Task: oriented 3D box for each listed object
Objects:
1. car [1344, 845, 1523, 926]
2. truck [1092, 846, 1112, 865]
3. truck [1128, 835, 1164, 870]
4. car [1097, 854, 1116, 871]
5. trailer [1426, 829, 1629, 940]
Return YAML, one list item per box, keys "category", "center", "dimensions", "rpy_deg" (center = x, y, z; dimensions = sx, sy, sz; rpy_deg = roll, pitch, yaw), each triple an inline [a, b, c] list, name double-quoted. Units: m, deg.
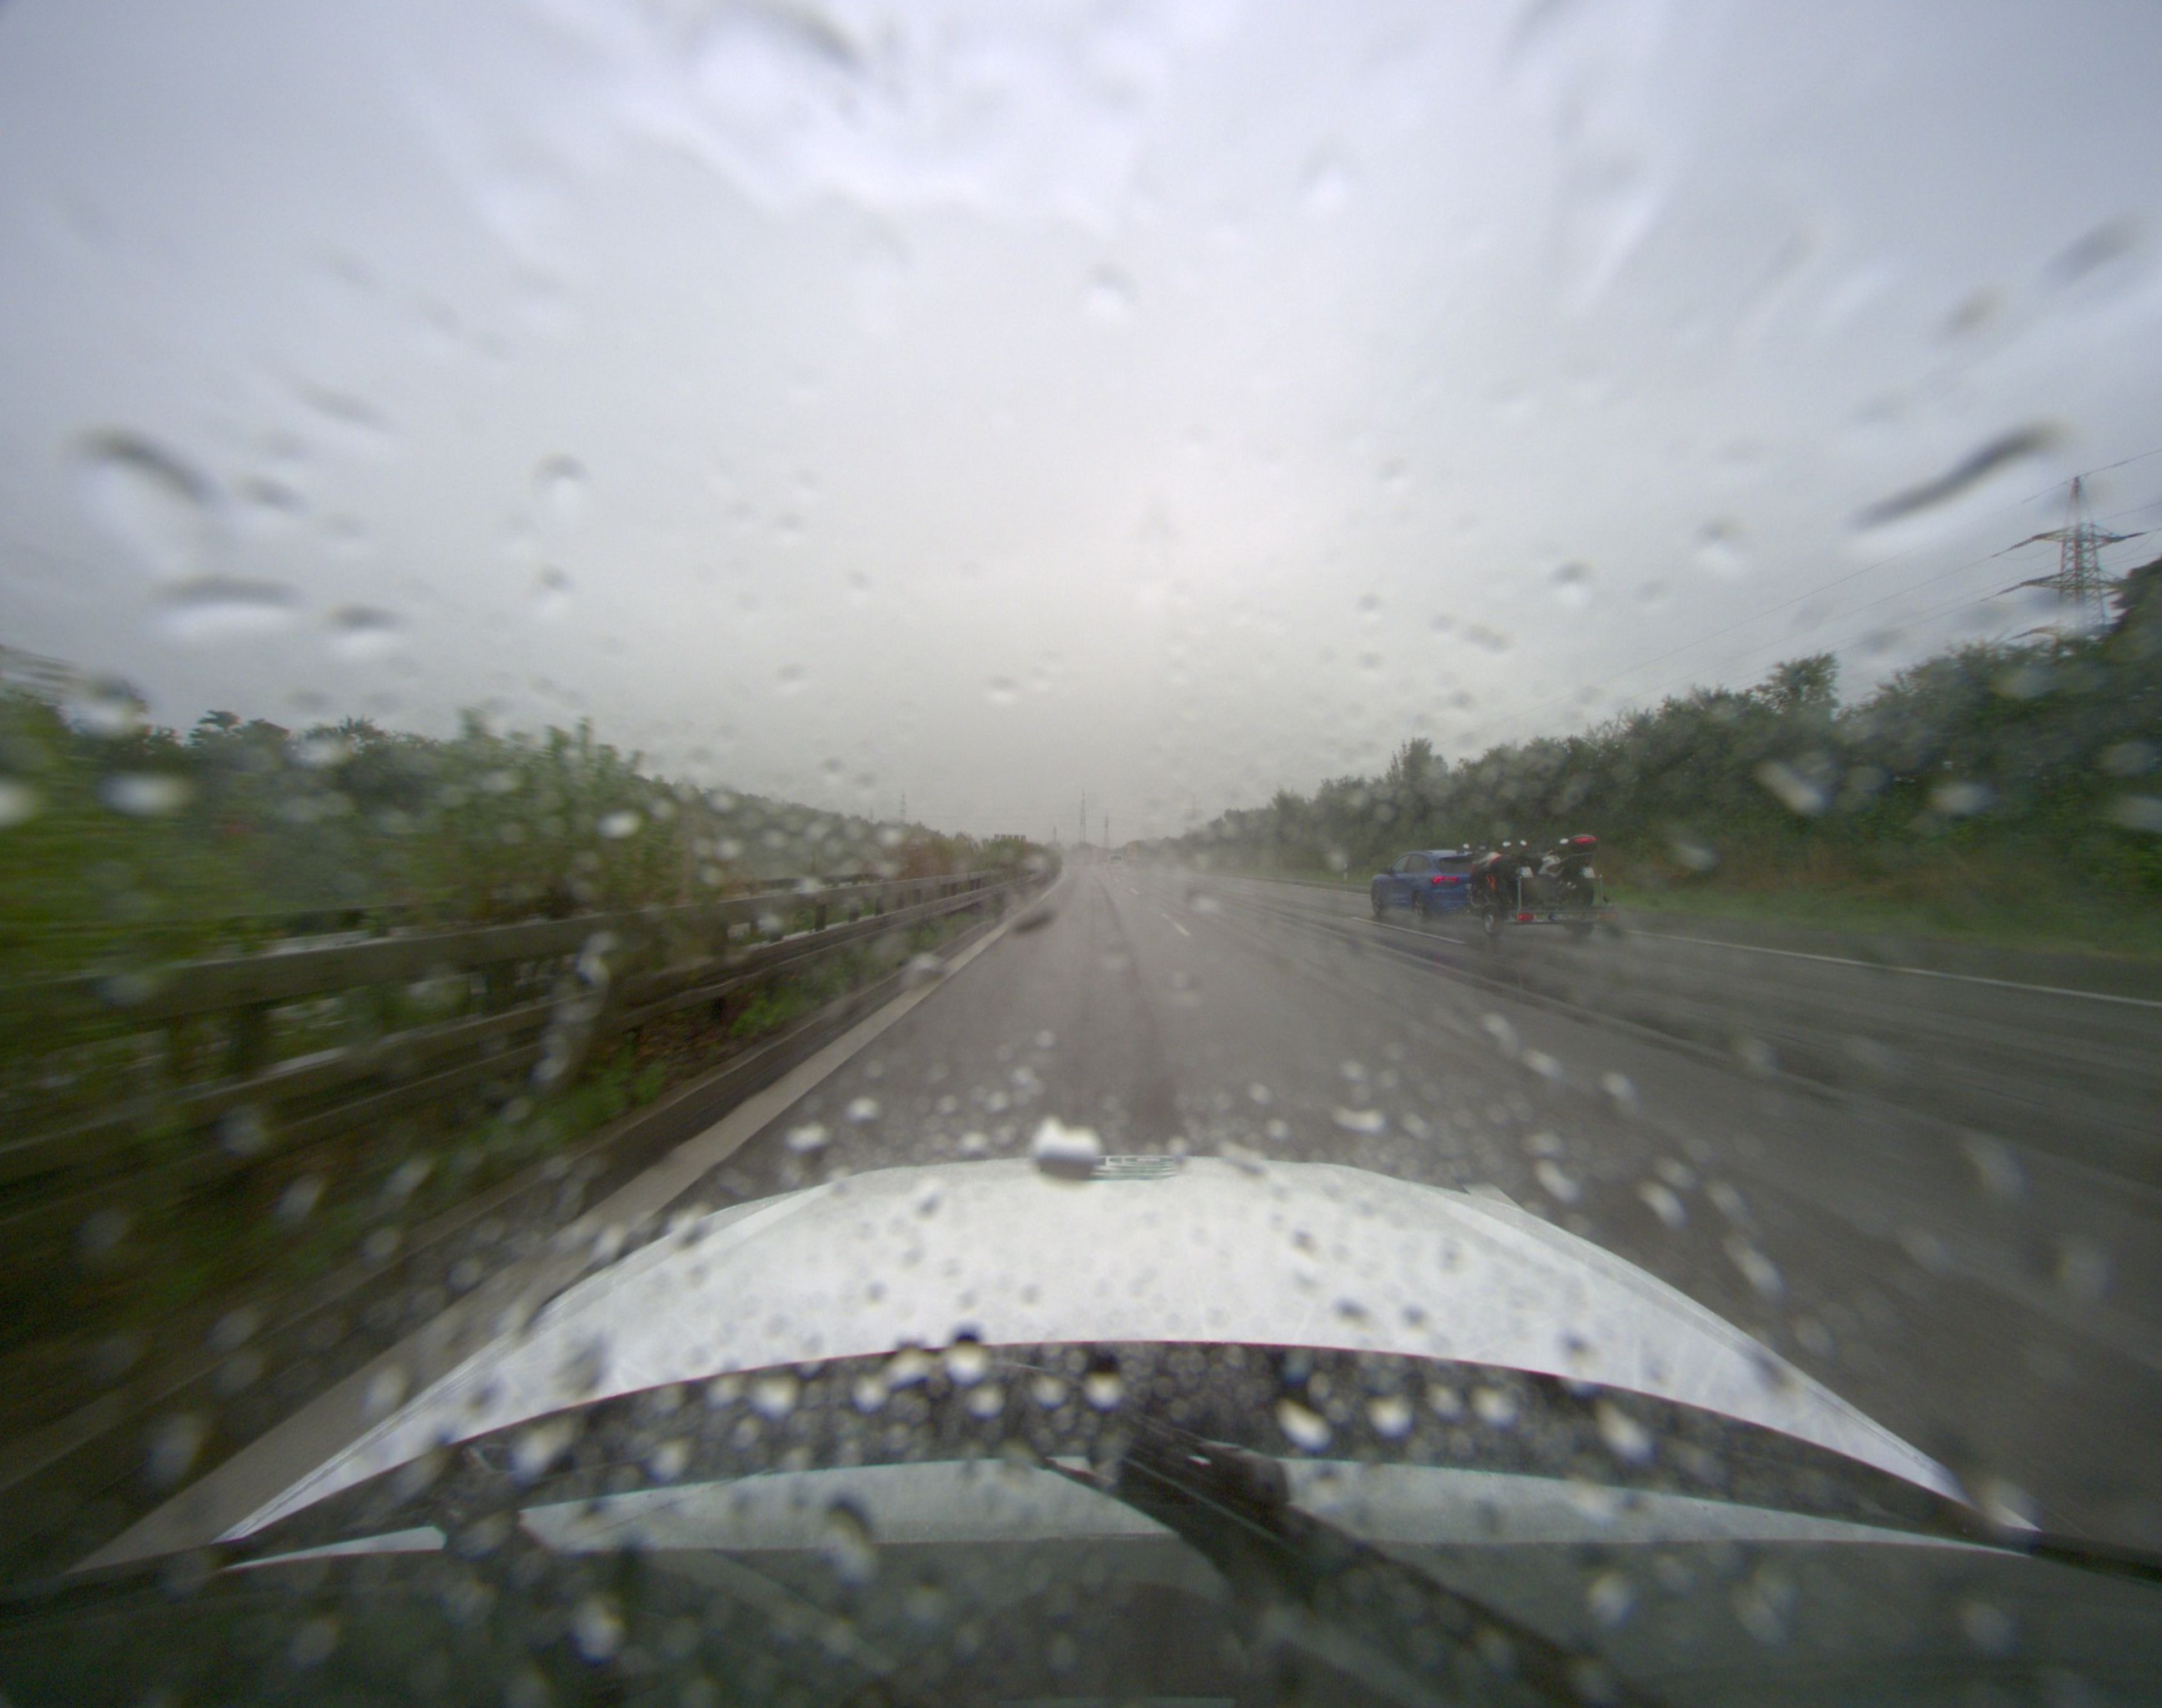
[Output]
- category: "car"
  center: [7.970, 0.673, 19.049]
  dimensions: [1.987, 1.619, 4.990]
  rpy_deg: [-1, -1, -1]
- category: "truck"
  center: [4.709, 0.302, 186.693]
  dimensions: [3.230, 4.311, 8.814]
  rpy_deg: [-1, 0, -7]
- category: "truck"
  center: [9.044, -0.058, 116.098]
  dimensions: [4.174, 4.630, 16.107]
  rpy_deg: [-1, -1, 1]
- category: "car"
  center: [3.017, 0.992, 96.932]
  dimensions: [1.989, 2.013, 3.995]
  rpy_deg: [-1, 0, -3]
- category: "trailer"
  center: [7.971, 0.520, 14.909]
  dimensions: [1.972, 1.785, 3.188]
  rpy_deg: [-1, -1, 0]
